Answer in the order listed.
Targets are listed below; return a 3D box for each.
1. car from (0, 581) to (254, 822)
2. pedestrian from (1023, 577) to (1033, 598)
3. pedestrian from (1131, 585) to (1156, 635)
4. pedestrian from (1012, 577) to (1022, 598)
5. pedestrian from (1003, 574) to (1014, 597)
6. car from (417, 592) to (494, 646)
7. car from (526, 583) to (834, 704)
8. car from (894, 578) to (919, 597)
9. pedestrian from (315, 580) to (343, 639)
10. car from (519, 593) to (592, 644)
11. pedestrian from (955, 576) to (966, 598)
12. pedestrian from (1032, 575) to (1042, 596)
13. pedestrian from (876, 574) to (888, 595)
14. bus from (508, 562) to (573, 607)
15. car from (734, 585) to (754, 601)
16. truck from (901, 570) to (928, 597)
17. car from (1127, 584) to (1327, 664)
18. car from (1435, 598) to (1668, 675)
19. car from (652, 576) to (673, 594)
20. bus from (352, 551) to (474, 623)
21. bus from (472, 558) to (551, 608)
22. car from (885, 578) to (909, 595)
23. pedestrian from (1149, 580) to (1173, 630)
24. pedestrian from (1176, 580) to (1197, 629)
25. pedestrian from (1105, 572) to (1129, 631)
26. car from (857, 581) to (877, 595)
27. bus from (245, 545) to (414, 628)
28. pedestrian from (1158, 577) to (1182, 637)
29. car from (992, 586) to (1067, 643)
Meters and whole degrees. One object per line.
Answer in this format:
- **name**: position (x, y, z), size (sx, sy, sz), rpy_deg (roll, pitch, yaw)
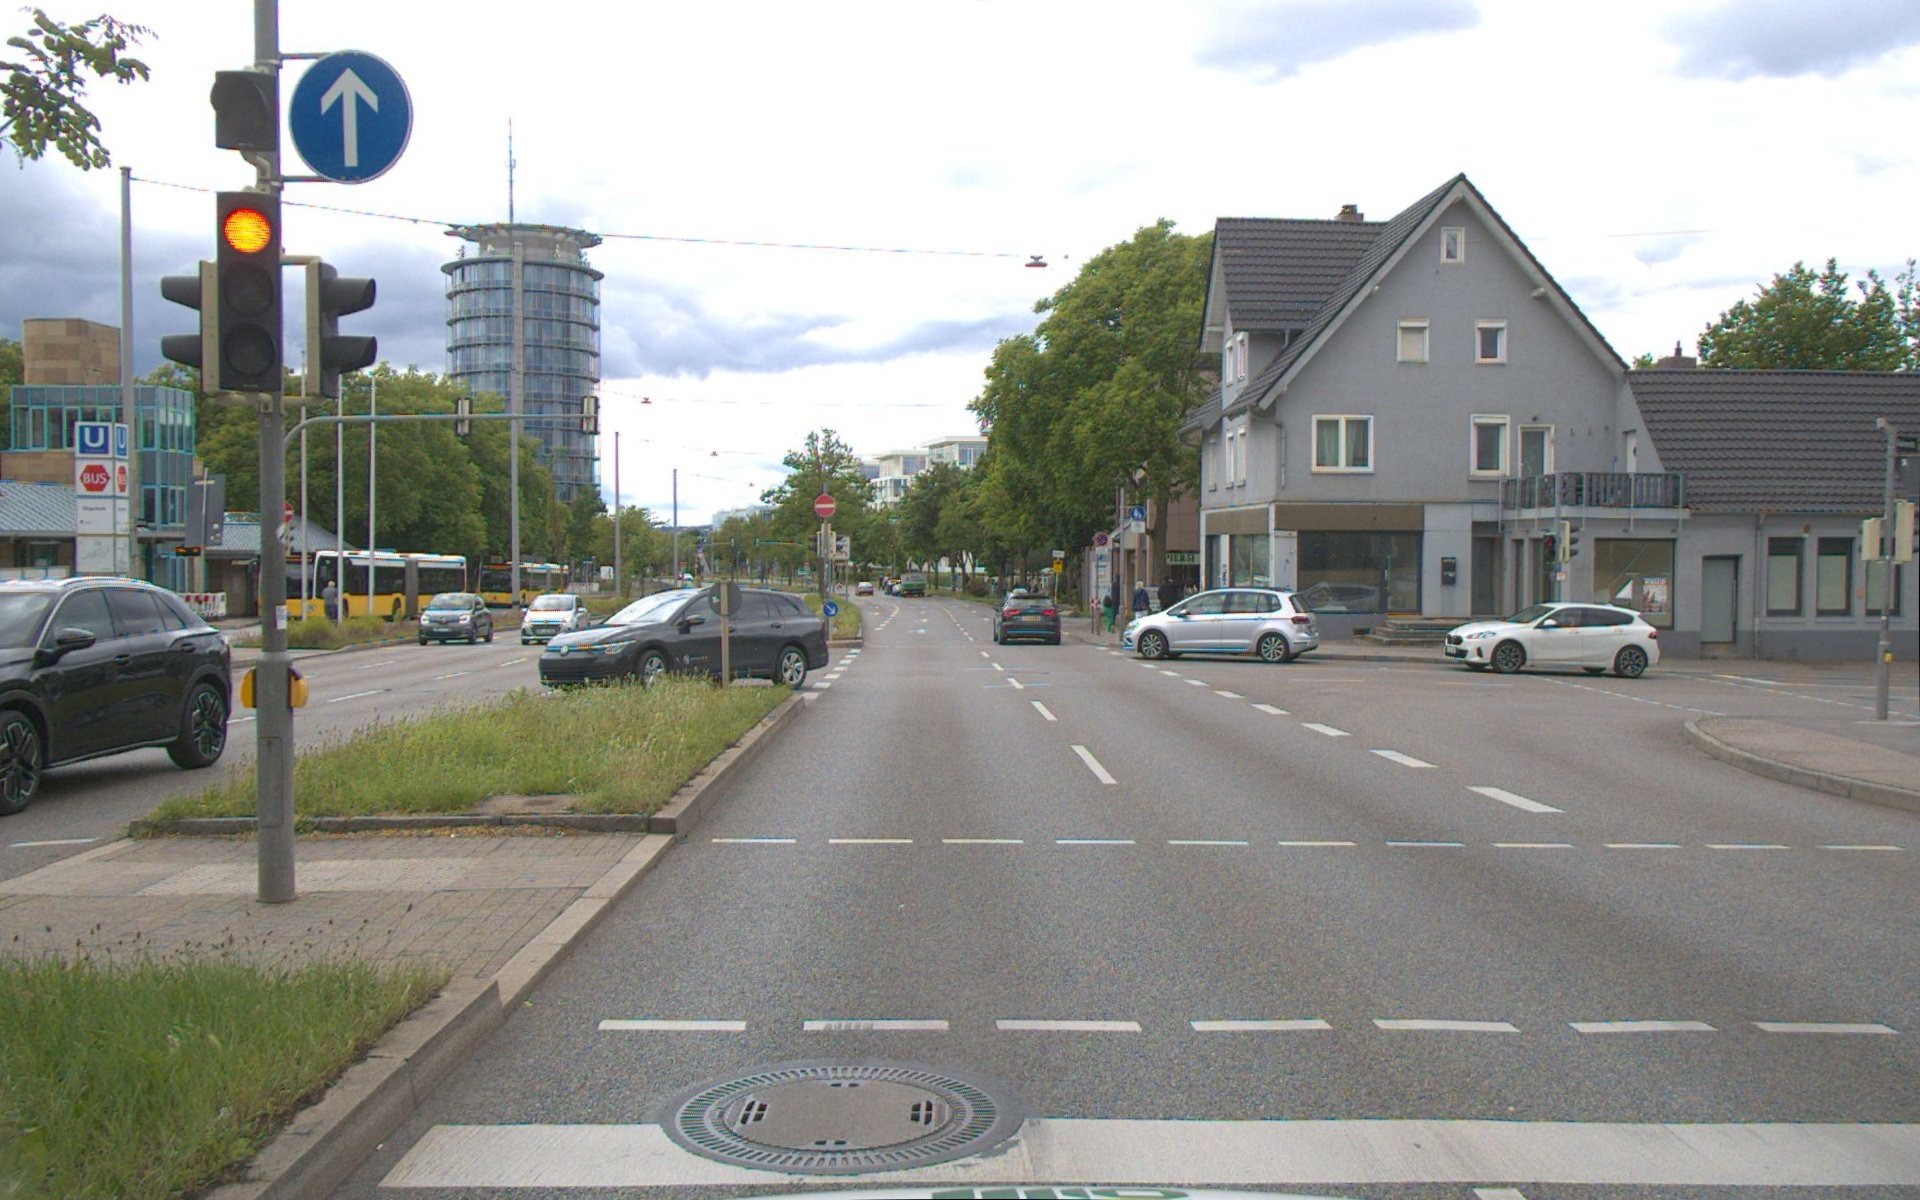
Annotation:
- **car**: position (-7.022, 0.653, 12.100), size (1.796, 1.547, 4.074), rpy_deg (-1, 1, 3)
- **pedestrian**: position (5.177, -0.960, 126.510), size (0.638, 1.597, 0.669), rpy_deg (0, 0, -9)
- **pedestrian**: position (5.632, 0.305, 50.817), size (0.690, 1.533, 0.870), rpy_deg (0, 0, 2)
- **pedestrian**: position (4.347, -0.988, 126.711), size (0.638, 1.597, 0.669), rpy_deg (0, 0, -9)
- **pedestrian**: position (4.402, -1.283, 149.605), size (0.951, 2.049, 0.981), rpy_deg (1, -1, -2)
- **car**: position (-15.470, 0.562, 50.820), size (1.652, 1.606, 3.344), rpy_deg (0, 0, -6)
- **car**: position (-3.838, 0.541, 23.279), size (1.682, 1.506, 4.268), rpy_deg (2, 1, 38)
- **car**: position (-5.398, -1.249, 165.009), size (2.207, 1.787, 4.927), rpy_deg (0, 0, -5)
- **pedestrian**: position (-20.742, 0.317, 54.393), size (0.647, 1.930, 0.685), rpy_deg (0, 0, -1)
- **car**: position (-12.361, 0.547, 50.732), size (1.651, 1.488, 3.552), rpy_deg (0, 0, -5)
- **pedestrian**: position (0.051, -1.433, 178.008), size (0.914, 2.349, 1.008), rpy_deg (1, -1, -10)
- **pedestrian**: position (5.934, -1.136, 126.784), size (0.638, 1.597, 0.669), rpy_deg (0, 0, -9)
- **pedestrian**: position (-9.405, -1.868, 199.005), size (1.210, 2.444, 1.306), rpy_deg (0, 0, -10)
- **bus**: position (-31.143, -1.137, 123.016), size (3.081, 3.281, 7.762), rpy_deg (0, 0, -2)
- **car**: position (-20.577, -0.687, 157.412), size (1.672, 1.518, 3.552), rpy_deg (-1, 0, -11)
- **truck**: position (-4.345, -1.541, 156.432), size (2.207, 2.459, 4.927), rpy_deg (0, 0, -5)
- **car**: position (5.868, 0.506, 36.333), size (4.016, 1.567, 1.829), rpy_deg (2, 0, 21)
- **car**: position (12.361, 0.747, 34.735), size (4.160, 1.503, 1.998), rpy_deg (1, 0, -6)
- **car**: position (-35.904, -1.836, 199.748), size (1.925, 2.049, 3.999), rpy_deg (1, 0, -1)
- **bus**: position (-26.542, -0.616, 80.724), size (2.927, 3.327, 7.879), rpy_deg (-1, 0, 3)
- **bus**: position (-30.781, -1.121, 114.018), size (3.082, 3.281, 10.279), rpy_deg (0, 0, -3)
- **car**: position (-6.599, -1.396, 173.786), size (2.207, 1.676, 4.927), rpy_deg (0, 0, -6)
- **pedestrian**: position (6.938, 0.166, 57.139), size (0.690, 1.691, 0.871), rpy_deg (-1, 0, 15)
- **pedestrian**: position (7.783, 0.152, 56.757), size (0.690, 1.691, 0.871), rpy_deg (0, 0, 7)
- **pedestrian**: position (4.887, 0.054, 51.473), size (0.690, 1.811, 0.870), rpy_deg (-1, 0, 2)
- **car**: position (-9.717, -1.266, 173.029), size (1.929, 1.444, 4.017), rpy_deg (0, 0, -6)
- **bus**: position (-27.079, -0.563, 71.699), size (2.927, 3.307, 10.174), rpy_deg (-1, 0, 3)
- **pedestrian**: position (6.378, 0.206, 50.258), size (0.690, 1.791, 1.053), rpy_deg (0, 0, 5)
- **car**: position (1.932, 0.392, 46.789), size (1.851, 1.521, 4.098), rpy_deg (-1, 0, -1)
